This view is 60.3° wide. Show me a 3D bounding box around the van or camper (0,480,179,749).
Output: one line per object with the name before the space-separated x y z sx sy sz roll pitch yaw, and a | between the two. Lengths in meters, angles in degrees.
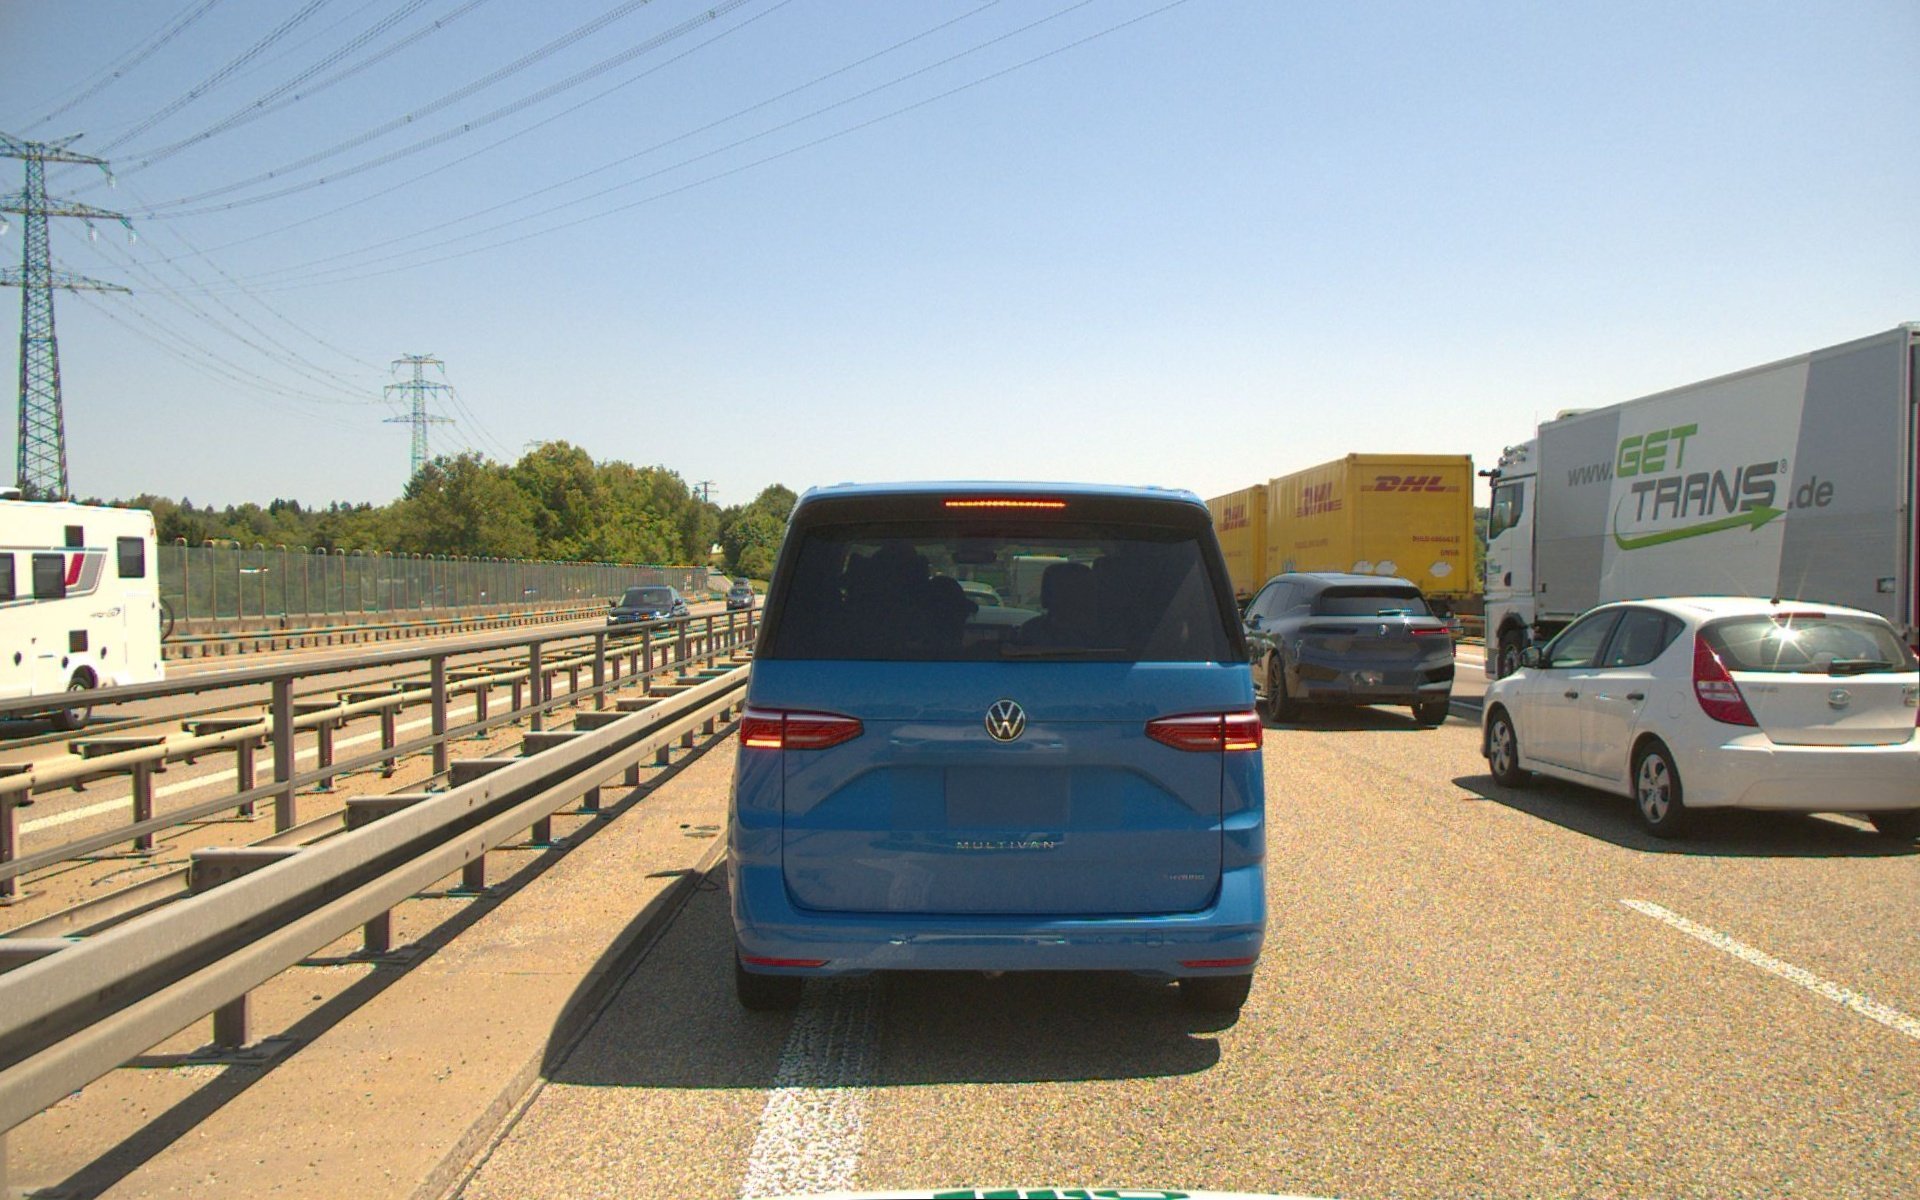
van or camper | -12.155 0.200 19.673 2.373 3.076 7.025 -2 0 -1

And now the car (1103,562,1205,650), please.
car | 4.652 0.129 40.249 1.922 2.028 4.292 0 0 -1

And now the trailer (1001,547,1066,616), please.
trailer | 3.428 -0.824 79.343 2.517 3.042 10.661 1 0 -1

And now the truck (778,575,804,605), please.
truck | -19.838 -1.202 194.475 2.447 3.424 5.833 -2 0 -1

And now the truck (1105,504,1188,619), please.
truck | 7.686 -1.539 69.047 2.613 4.562 6.848 0 0 -1

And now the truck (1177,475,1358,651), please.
truck | 8.366 -0.942 46.552 2.778 4.317 11.008 1 0 -1

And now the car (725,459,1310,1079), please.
car | 0.156 0.519 7.146 1.783 1.890 4.074 1 0 -1

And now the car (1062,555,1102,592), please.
car | 7.082 -1.522 96.265 1.953 2.049 4.460 -1 0 -1

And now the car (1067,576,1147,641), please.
car | 4.322 0.240 49.079 1.953 1.847 3.999 0 0 -1

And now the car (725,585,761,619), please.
car | -15.055 0.106 114.973 1.953 2.254 4.267 -3 0 -1

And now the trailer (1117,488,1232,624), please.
trailer | 7.803 -1.529 61.758 2.583 4.595 11.299 1 0 -1

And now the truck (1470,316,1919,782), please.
truck | 8.827 -0.449 18.572 2.603 3.711 11.008 0 0 -1

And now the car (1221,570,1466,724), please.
car | 4.492 0.496 20.056 1.922 1.673 4.292 0 0 -1

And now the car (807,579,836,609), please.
car | -10.751 -0.472 128.430 1.825 2.168 4.268 -3 0 0

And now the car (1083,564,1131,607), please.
car | 7.292 -0.701 82.230 1.953 2.049 3.999 1 0 -1

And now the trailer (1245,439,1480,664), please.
trailer | 8.573 -0.933 36.517 2.806 4.313 9.009 1 0 -1

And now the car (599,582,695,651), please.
car | -8.769 0.429 46.640 1.829 1.729 4.429 -4 1 -1

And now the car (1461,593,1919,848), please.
car | 5.135 0.692 11.807 1.752 1.481 4.292 0 0 -1

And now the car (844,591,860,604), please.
car | -13.076 -0.345 200.298 1.586 1.489 3.701 -2 0 -1
